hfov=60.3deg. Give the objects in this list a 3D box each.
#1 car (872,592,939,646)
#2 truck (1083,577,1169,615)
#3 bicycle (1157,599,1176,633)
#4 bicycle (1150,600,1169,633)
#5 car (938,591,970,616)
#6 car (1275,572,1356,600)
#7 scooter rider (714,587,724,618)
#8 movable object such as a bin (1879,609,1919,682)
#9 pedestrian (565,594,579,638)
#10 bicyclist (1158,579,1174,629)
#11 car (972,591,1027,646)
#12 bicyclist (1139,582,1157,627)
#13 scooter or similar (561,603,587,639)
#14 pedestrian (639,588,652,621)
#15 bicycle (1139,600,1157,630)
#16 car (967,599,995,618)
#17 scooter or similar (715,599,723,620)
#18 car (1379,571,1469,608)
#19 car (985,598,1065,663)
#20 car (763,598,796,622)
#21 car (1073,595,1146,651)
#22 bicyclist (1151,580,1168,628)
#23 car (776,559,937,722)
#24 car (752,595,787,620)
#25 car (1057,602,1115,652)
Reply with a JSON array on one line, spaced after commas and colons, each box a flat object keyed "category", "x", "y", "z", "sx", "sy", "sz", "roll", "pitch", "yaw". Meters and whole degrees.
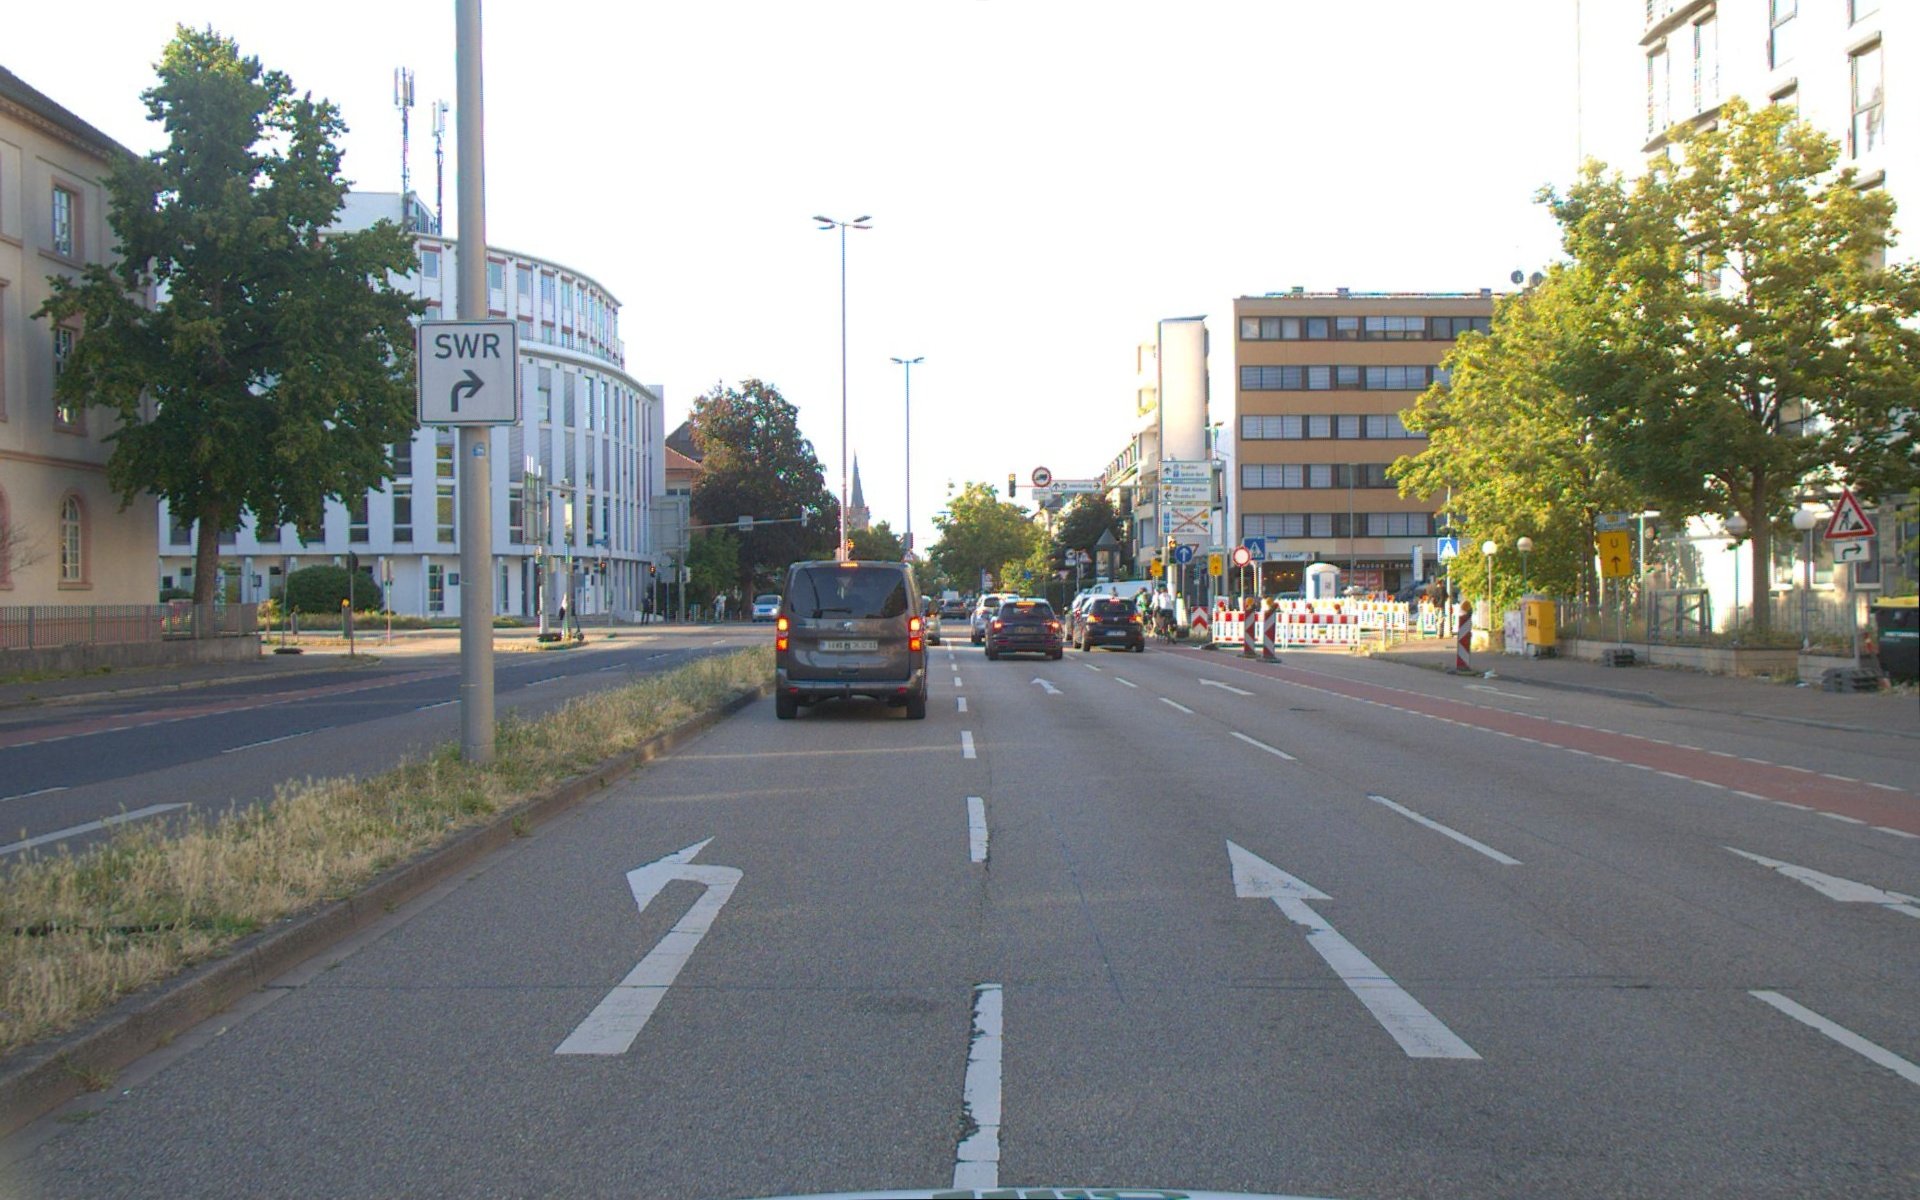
[{"category": "car", "x": -1.653, "y": 0.555, "z": 50.905, "sx": 1.953, "sy": 1.557, "sz": 3.999, "roll": -1, "pitch": 0, "yaw": -2}, {"category": "truck", "x": 9.675, "y": -0.248, "z": 96.357, "sx": 4.534, "sy": 2.123, "sz": 2.129, "roll": -1, "pitch": 0, "yaw": 34}, {"category": "bicycle", "x": 6.485, "y": 0.488, "z": 51.966, "sx": 0.329, "sy": 1.025, "sz": 1.855, "roll": -1, "pitch": 0, "yaw": -1}, {"category": "bicycle", "x": 6.531, "y": 0.531, "z": 54.105, "sx": 0.329, "sy": 1.025, "sz": 1.855, "roll": -1, "pitch": 0, "yaw": -1}, {"category": "car", "x": -0.450, "y": 0.250, "z": 118.307, "sx": 1.954, "sy": 1.691, "sz": 3.997, "roll": -1, "pitch": 0, "yaw": -4}, {"category": "car", "x": 19.027, "y": -0.742, "z": 88.577, "sx": 3.912, "sy": 1.445, "sz": 1.785, "roll": -1, "pitch": 0, "yaw": -8}, {"category": "scooter rider", "x": -13.779, "y": 0.139, "z": 94.763, "sx": 0.471, "sy": 1.727, "sz": 0.636, "roll": -1, "pitch": 0, "yaw": -2}, {"category": "movable object such as a bin", "x": 14.387, "y": 0.669, "z": 24.710, "sx": 0.834, "sy": 1.063, "sz": 0.819, "roll": -1, "pitch": 0, "yaw": -6}, {"category": "pedestrian", "x": -13.822, "y": 0.562, "z": 58.910, "sx": 0.466, "sy": 1.532, "sz": 0.334, "roll": -1, "pitch": 0, "yaw": -13}, {"category": "bicyclist", "x": 6.467, "y": 0.129, "z": 51.962, "sx": 0.432, "sy": 1.552, "sz": 0.482, "roll": -1, "pitch": 0, "yaw": -2}, {"category": "car", "x": 1.199, "y": 0.550, "z": 51.587, "sx": 1.498, "sy": 1.641, "sz": 3.744, "roll": 1, "pitch": 0, "yaw": -2}, {"category": "bicyclist", "x": 6.479, "y": 0.150, "z": 56.909, "sx": 0.503, "sy": 1.552, "sz": 0.725, "roll": -1, "pitch": 0, "yaw": -2}, {"category": "scooter or similar", "x": -13.722, "y": 0.758, "z": 58.828, "sx": 0.877, "sy": 1.255, "sz": 0.370, "roll": -1, "pitch": 0, "yaw": -13}, {"category": "pedestrian", "x": -16.644, "y": 0.235, "z": 87.500, "sx": 0.615, "sy": 1.752, "sz": 0.669, "roll": -1, "pitch": 0, "yaw": -15}, {"category": "bicycle", "x": 6.466, "y": 0.510, "z": 56.909, "sx": 0.329, "sy": 1.025, "sz": 1.855, "roll": -1, "pitch": 0, "yaw": -1}, {"category": "car", "x": 1.620, "y": 0.626, "z": 127.678, "sx": 1.866, "sy": 1.396, "sz": 3.998, "roll": -1, "pitch": 0, "yaw": -3}, {"category": "scooter or similar", "x": -13.806, "y": 0.545, "z": 94.769, "sx": 0.279, "sy": 1.209, "sz": 1.169, "roll": -1, "pitch": 0, "yaw": -1}, {"category": "car", "x": 24.316, "y": -0.568, "z": 86.803, "sx": 4.130, "sy": 1.849, "sz": 2.000, "roll": -1, "pitch": 0, "yaw": -1}, {"category": "car", "x": 1.531, "y": 0.691, "z": 40.053, "sx": 1.647, "sy": 1.446, "sz": 4.212, "roll": 1, "pitch": 0, "yaw": -2}, {"category": "car", "x": -11.403, "y": 0.597, "z": 104.784, "sx": 1.819, "sy": 1.445, "sz": 3.998, "roll": -1, "pitch": 0, "yaw": -3}, {"category": "car", "x": 4.161, "y": 0.626, "z": 46.514, "sx": 1.601, "sy": 1.474, "sz": 3.744, "roll": 1, "pitch": 0, "yaw": -2}, {"category": "bicyclist", "x": 6.525, "y": 0.139, "z": 54.186, "sx": 0.432, "sy": 1.552, "sz": 0.725, "roll": -1, "pitch": 0, "yaw": -2}, {"category": "car", "x": -1.271, "y": 0.466, "z": 21.697, "sx": 1.868, "sy": 1.896, "sz": 4.525, "roll": 1, "pitch": 0, "yaw": -2}, {"category": "car", "x": -11.377, "y": 0.446, "z": 98.824, "sx": 1.819, "sy": 1.445, "sz": 3.998, "roll": -1, "pitch": 0, "yaw": -3}, {"category": "car", "x": 3.949, "y": 0.819, "z": 52.161, "sx": 1.474, "sy": 1.474, "sz": 3.304, "roll": -1, "pitch": 0, "yaw": -2}]
